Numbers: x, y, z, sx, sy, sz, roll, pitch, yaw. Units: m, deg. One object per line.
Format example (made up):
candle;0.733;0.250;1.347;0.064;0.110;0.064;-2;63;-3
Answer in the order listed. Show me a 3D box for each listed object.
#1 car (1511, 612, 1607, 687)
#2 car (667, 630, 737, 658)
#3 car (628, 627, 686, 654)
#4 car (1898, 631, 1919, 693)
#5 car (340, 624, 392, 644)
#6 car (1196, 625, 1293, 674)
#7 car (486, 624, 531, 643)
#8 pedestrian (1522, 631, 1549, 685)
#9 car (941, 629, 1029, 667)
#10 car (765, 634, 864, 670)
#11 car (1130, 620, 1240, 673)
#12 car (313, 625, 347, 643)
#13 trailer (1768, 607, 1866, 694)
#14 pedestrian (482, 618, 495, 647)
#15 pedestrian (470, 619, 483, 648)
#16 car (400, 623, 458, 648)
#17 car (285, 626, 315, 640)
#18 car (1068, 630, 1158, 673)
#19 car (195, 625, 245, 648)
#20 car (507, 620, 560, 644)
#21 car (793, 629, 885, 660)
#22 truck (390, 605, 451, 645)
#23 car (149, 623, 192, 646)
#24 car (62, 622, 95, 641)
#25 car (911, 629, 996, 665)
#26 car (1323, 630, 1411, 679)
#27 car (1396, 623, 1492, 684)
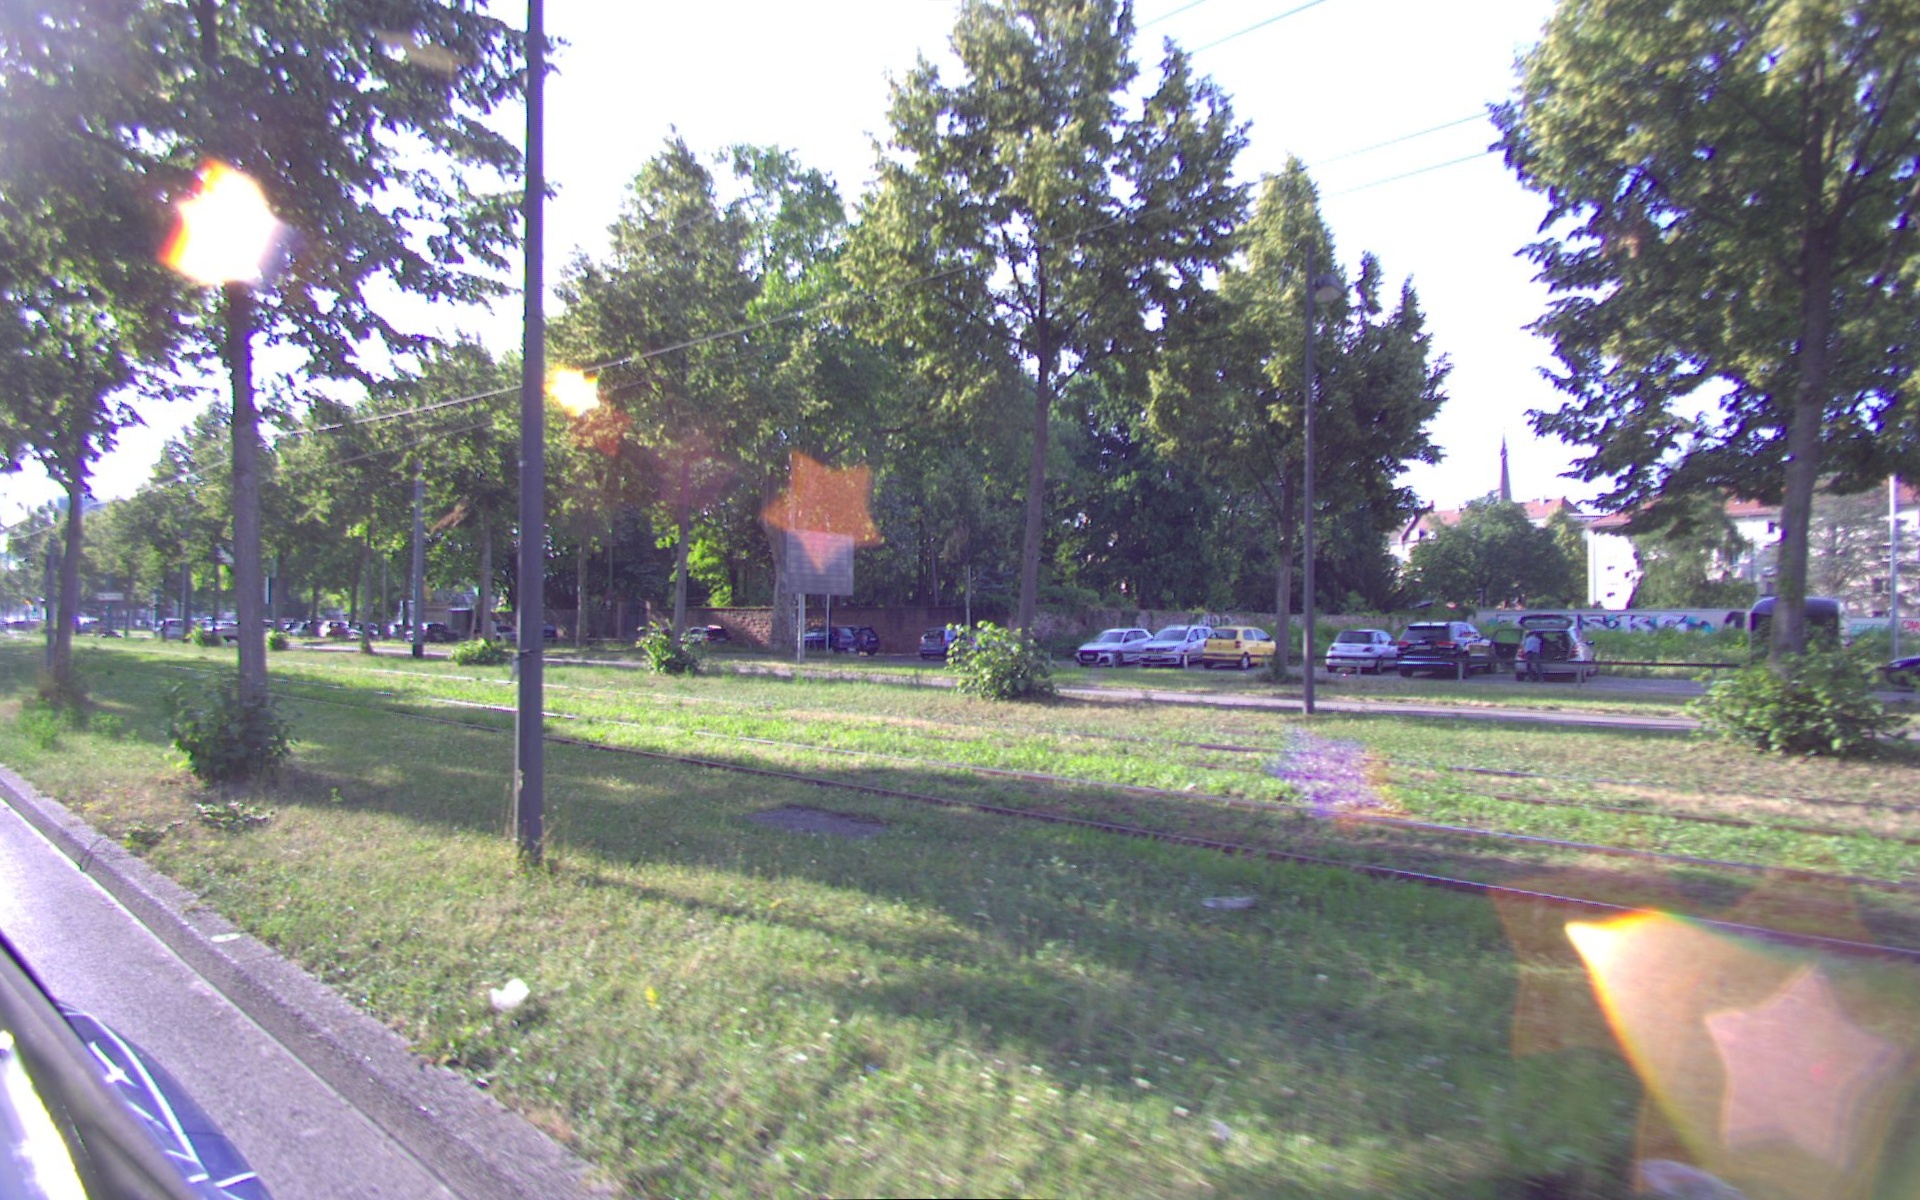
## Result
car;17.814;1.392;30.023;1.757;1.962;3.951;-1;0;41
car;-14.806;2.480;57.987;4.361;1.453;1.767;0;0;43
car;-18.549;2.444;61.892;3.911;1.453;1.699;0;0;43
car;24.936;1.508;24.005;3.756;1.403;1.664;-1;1;37
car;-40.404;2.303;68.823;4.899;1.253;1.658;0;0;42
car;10.526;1.779;37.342;1.856;1.572;3.944;-1;0;43
car;-34.902;2.574;78.226;4.387;1.386;1.678;0;0;44
pedestrian;16.438;1.658;28.894;0.568;1.491;0.516;-1;0;40
car;1.136;2.136;45.695;3.811;1.497;1.746;-1;0;-42
car;-6.344;2.224;43.967;4.013;1.446;1.673;-1;0;25
car;8.731;1.733;39.035;1.885;1.748;5.005;-1;0;43
car;-49.691;2.689;79.825;1.564;1.286;3.963;-1;0;-43
trailer;22.965;1.259;27.064;1.758;2.069;4.316;-1;0;43
pedestrian;-24.987;1.724;53.653;0.601;1.487;0.382;-1;0;40
pedestrian;-25.408;1.769;53.183;0.601;1.487;0.382;-1;0;40
car;-33.893;2.214;64.517;4.473;1.442;1.811;-1;0;42
car;-57.120;2.825;87.540;3.772;1.116;1.284;0;0;43
car;6.072;1.993;39.960;1.809;1.439;3.607;-1;0;43
car;-51.264;2.507;70.090;4.810;1.487;1.664;-1;-4;41
car;-31.188;2.289;73.975;4.473;1.624;1.811;-1;0;42
car;-6.143;2.242;51.229;4.333;1.453;1.778;-1;0;23
truck;-50.473;2.285;94.644;2.855;3.542;7.949;-1;0;-45
car;-51.920;2.237;66.542;3.694;1.403;1.567;-1;0;41
car;-76.871;2.745;88.205;4.130;1.544;1.594;-1;0;41
car;-0.269;2.171;47.575;3.811;1.497;1.746;-1;0;-42
car;13.827;1.800;34.290;1.725;1.436;3.530;-1;0;41
car;15.304;1.618;31.889;1.757;1.655;3.951;-1;0;41
